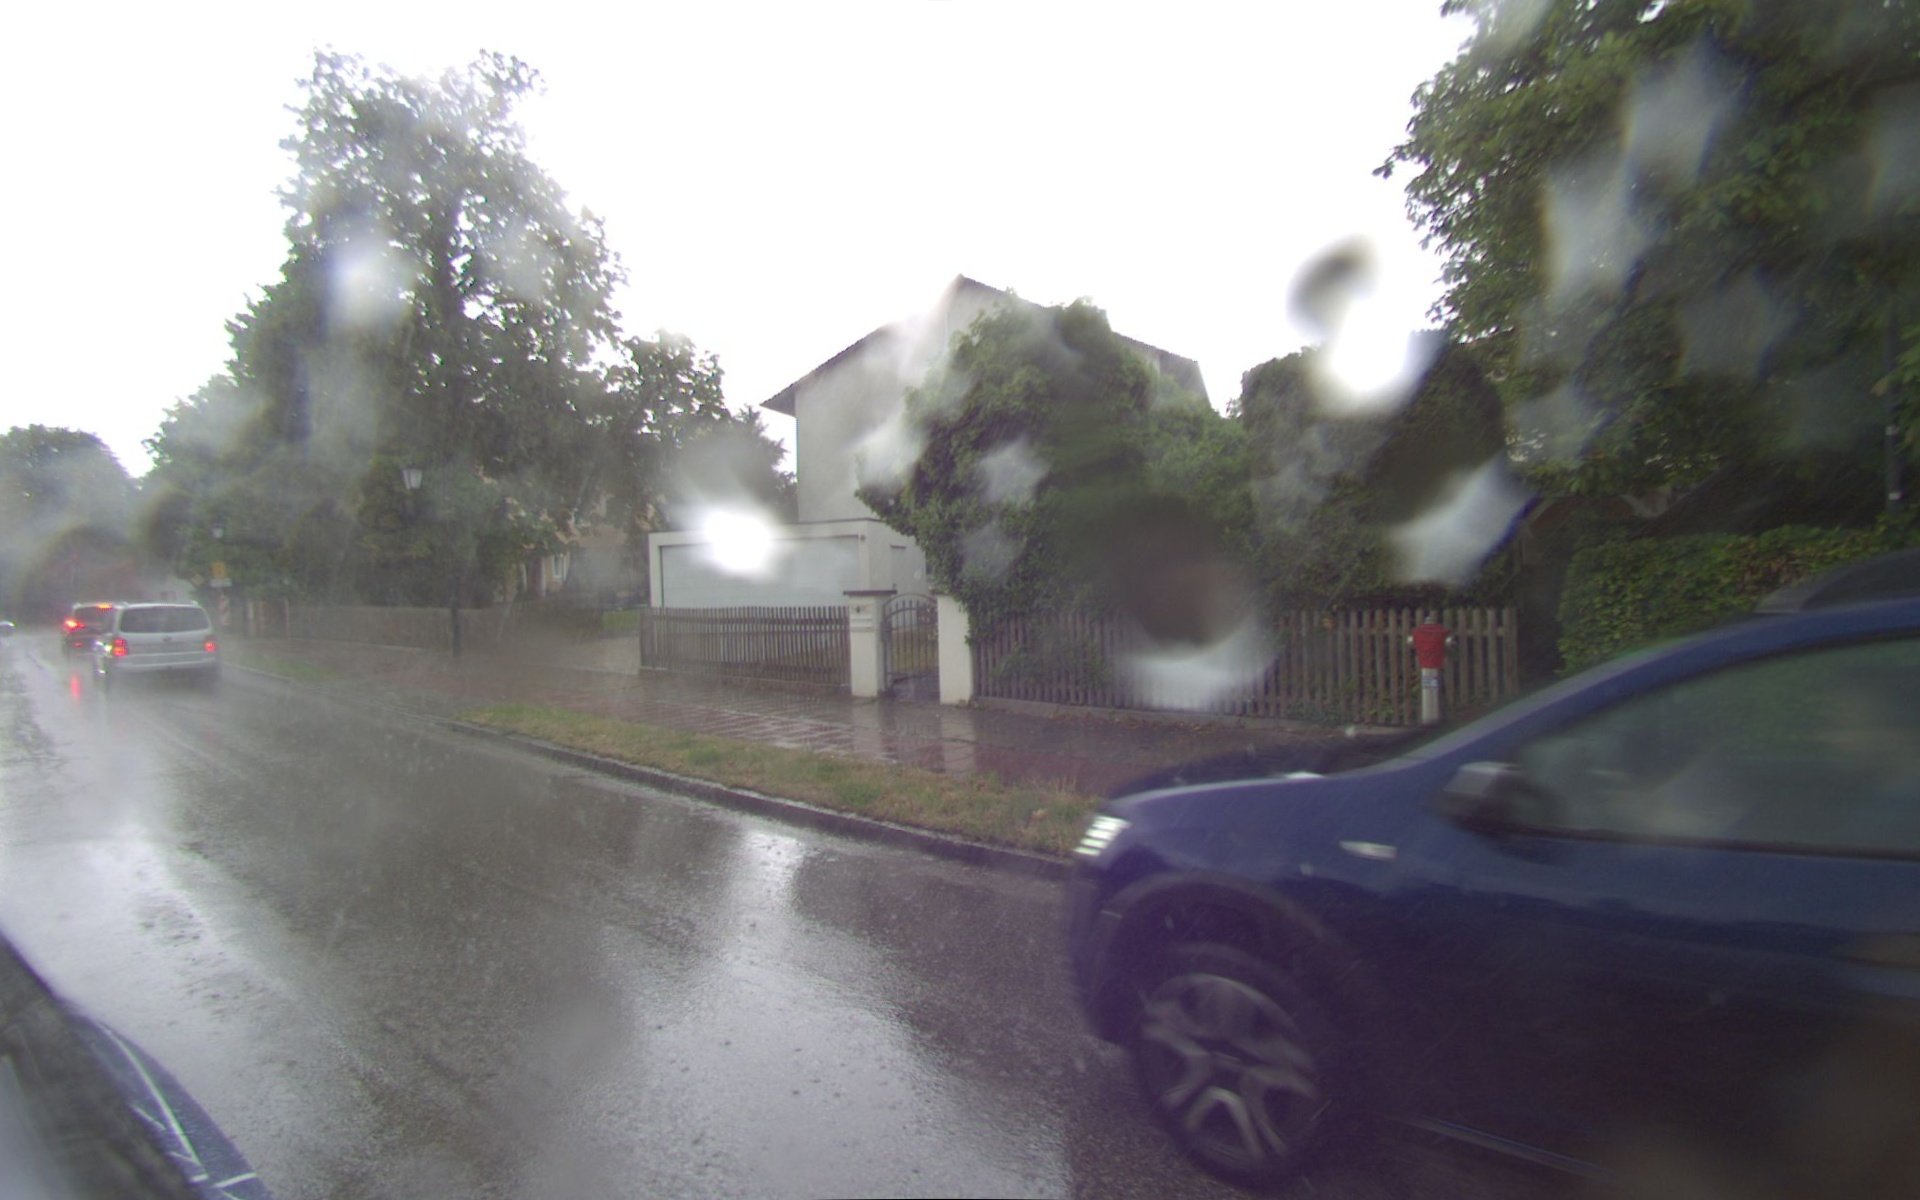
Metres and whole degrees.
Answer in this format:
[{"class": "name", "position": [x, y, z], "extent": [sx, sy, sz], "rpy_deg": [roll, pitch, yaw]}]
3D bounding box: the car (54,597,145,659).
[{"class": "car", "position": [-26.190, 0.816, 30.767], "extent": [1.900, 1.757, 4.195], "rpy_deg": [0, 0, -44]}]

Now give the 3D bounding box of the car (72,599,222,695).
[{"class": "car", "position": [-15.975, 0.855, 19.829], "extent": [4.000, 1.690, 1.734], "rpy_deg": [-1, -1, 43]}]

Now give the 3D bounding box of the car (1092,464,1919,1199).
[{"class": "car", "position": [2.210, 0.584, 2.187], "extent": [3.535, 1.622, 1.571], "rpy_deg": [-1, -1, 40]}]

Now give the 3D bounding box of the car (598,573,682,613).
[{"class": "car", "position": [-16.491, -0.370, 52.216], "extent": [3.619, 1.815, 1.836], "rpy_deg": [-3, 2, 12]}]
